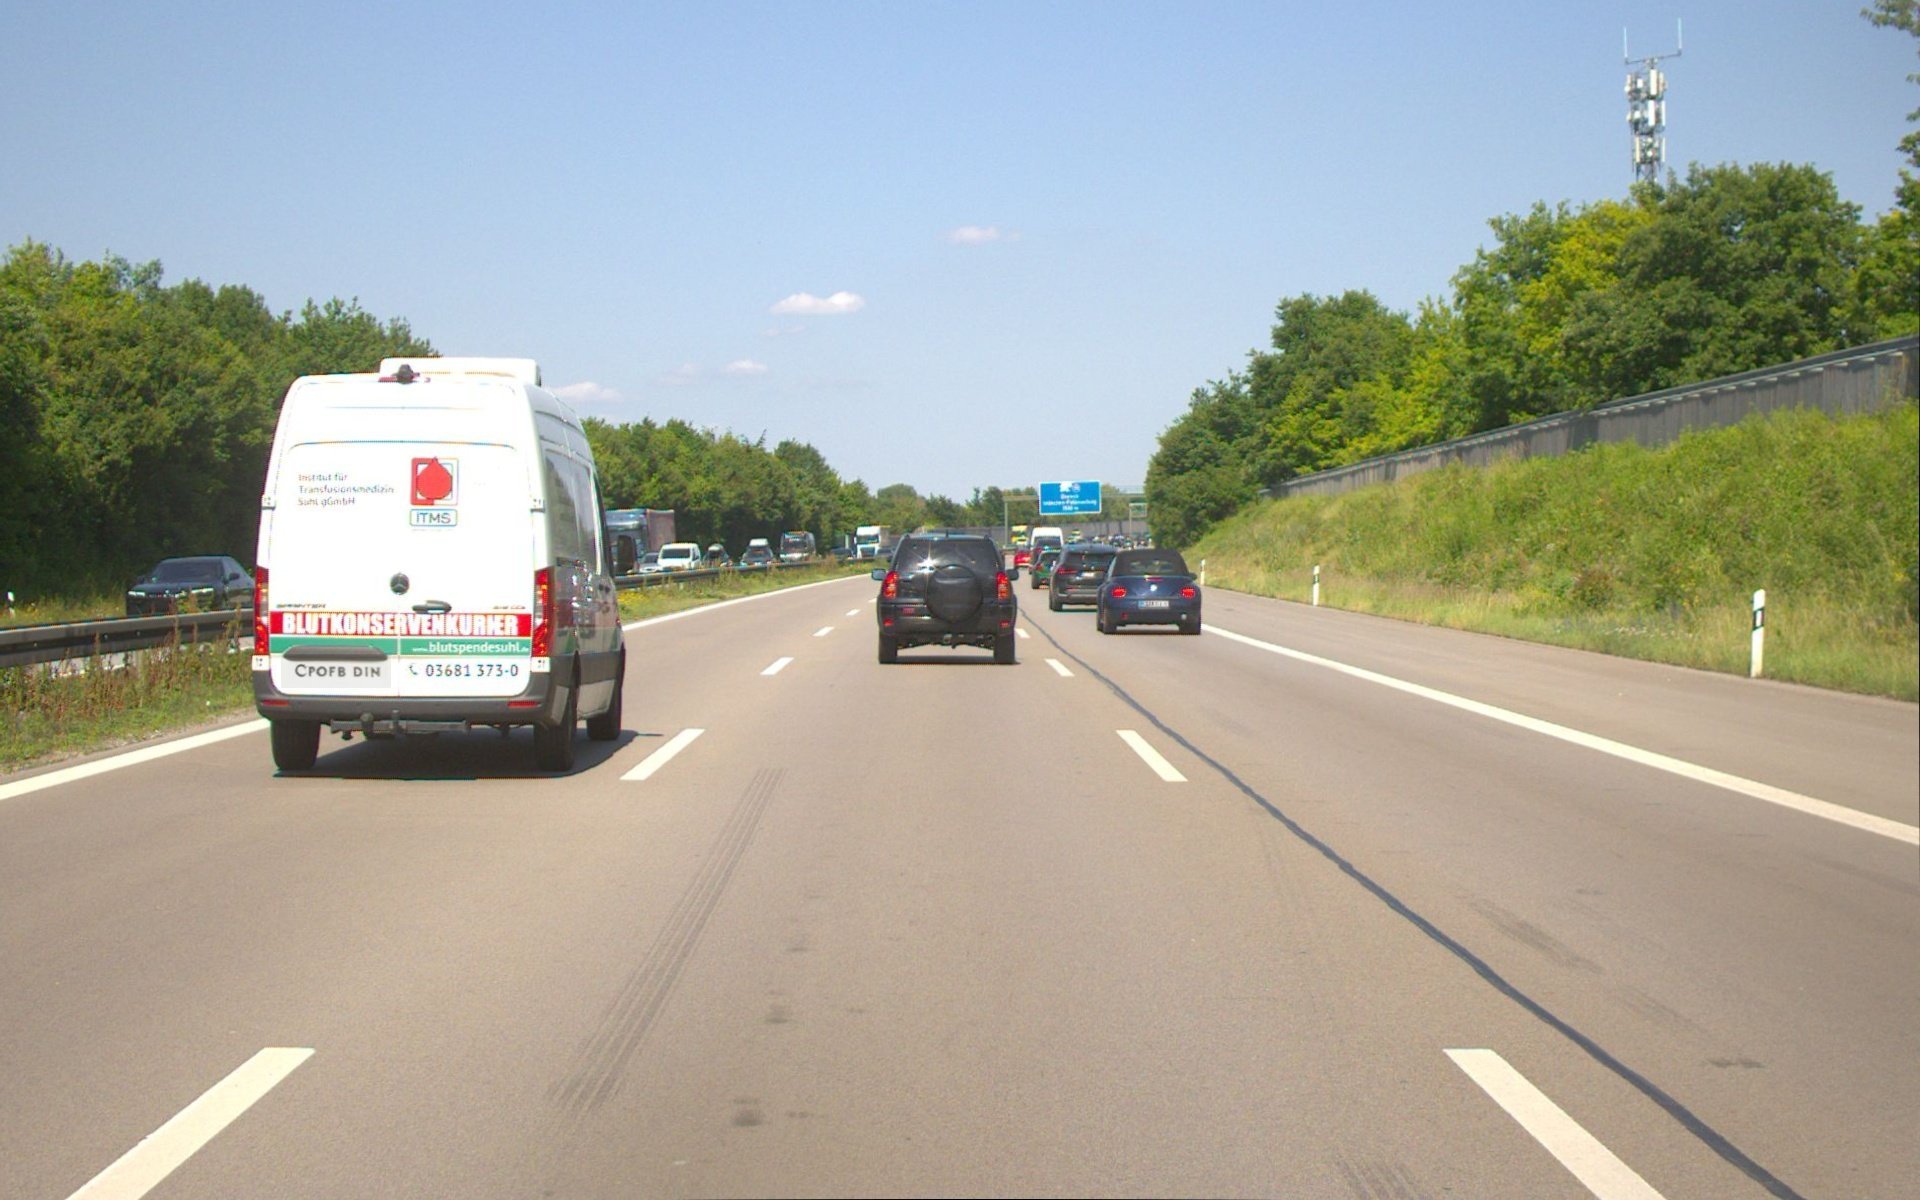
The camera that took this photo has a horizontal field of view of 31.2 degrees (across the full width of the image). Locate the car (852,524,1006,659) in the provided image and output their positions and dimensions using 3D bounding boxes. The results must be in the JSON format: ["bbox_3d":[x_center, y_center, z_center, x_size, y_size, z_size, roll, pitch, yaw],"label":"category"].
[{"bbox_3d":[-0.387,-0.110,44.919,1.906,1.659,4.000,-1,0,0],"label":"car"}]

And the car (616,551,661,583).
[{"bbox_3d":[-18.182,-1.876,194.587,1.993,1.740,4.391,-1,1,1],"label":"car"}]

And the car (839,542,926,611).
[{"bbox_3d":[-2.026,-0.641,90.679,1.993,1.700,4.336,-1,1,2],"label":"car"}]

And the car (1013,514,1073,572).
[{"bbox_3d":[3.001,-2.062,124.913,1.993,2.007,4.000,-1,0,-1],"label":"car"}]

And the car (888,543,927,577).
[{"bbox_3d":[-3.210,-2.458,211.785,1.994,2.007,4.949,-1,1,3],"label":"car"}]

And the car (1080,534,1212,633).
[{"bbox_3d":[3.281,-0.293,61.367,1.993,1.678,4.000,-1,0,-2],"label":"car"}]

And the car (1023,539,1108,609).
[{"bbox_3d":[2.497,-0.603,82.272,1.842,1.606,4.000,-1,0,-1],"label":"car"}]

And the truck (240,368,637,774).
[{"bbox_3d":[-3.599,-0.250,25.002,1.993,2.533,6.692,1,1,-1],"label":"truck"}]

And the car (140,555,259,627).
[{"bbox_3d":[-16.153,-0.199,73.172,1.678,1.465,4.000,-1,0,-1],"label":"car"}]

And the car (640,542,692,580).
[{"bbox_3d":[-13.893,-1.861,162.659,1.993,1.740,4.391,-1,1,1],"label":"car"}]

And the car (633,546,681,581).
[{"bbox_3d":[-15.616,-1.871,177.342,1.993,1.740,4.391,-1,1,1],"label":"car"}]

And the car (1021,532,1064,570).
[{"bbox_3d":[4.552,-2.714,190.228,1.993,2.007,4.768,-1,1,-3],"label":"car"}]
